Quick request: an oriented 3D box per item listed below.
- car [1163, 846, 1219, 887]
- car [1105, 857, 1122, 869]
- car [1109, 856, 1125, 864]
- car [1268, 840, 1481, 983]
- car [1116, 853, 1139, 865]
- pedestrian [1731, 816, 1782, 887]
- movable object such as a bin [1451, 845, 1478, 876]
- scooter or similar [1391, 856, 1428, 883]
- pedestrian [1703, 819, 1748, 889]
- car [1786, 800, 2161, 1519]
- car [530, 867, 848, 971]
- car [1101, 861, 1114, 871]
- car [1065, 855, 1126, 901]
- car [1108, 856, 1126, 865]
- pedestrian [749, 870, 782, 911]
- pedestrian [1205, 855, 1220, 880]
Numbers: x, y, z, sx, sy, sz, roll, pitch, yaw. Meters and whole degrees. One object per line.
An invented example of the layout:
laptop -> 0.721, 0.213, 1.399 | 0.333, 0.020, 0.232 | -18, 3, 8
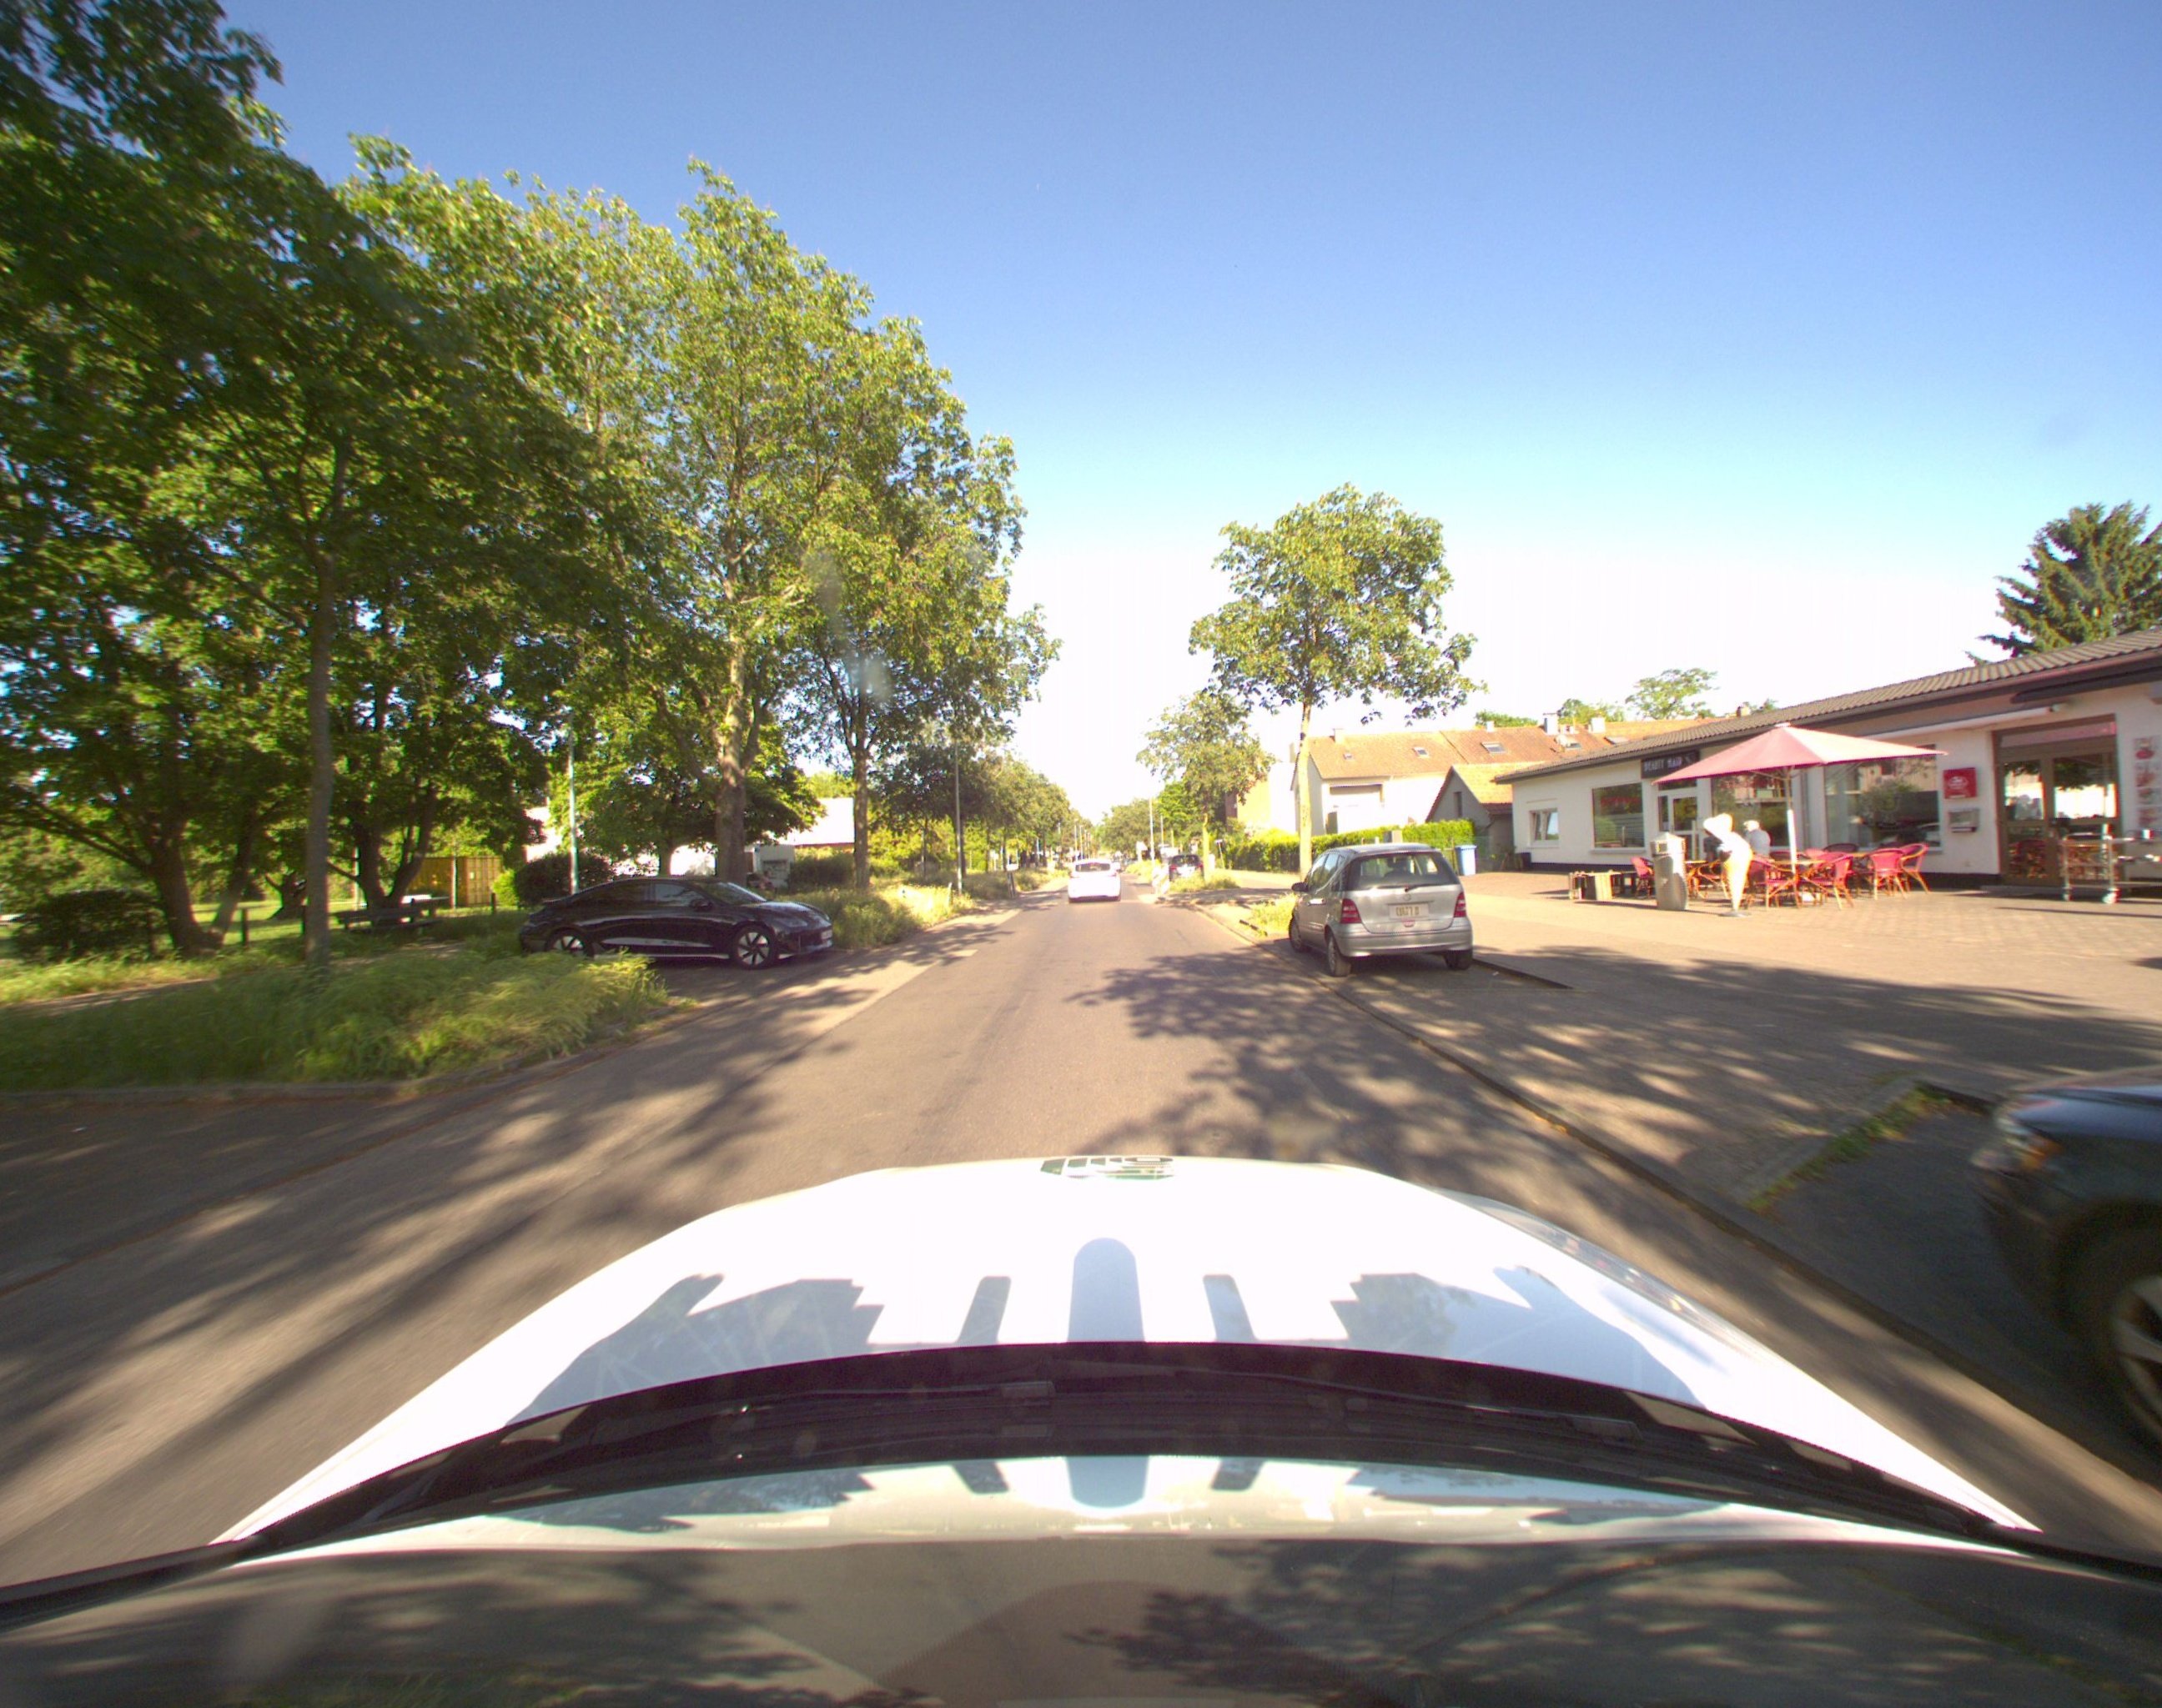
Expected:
car -> 5.126, 0.605, 38.561 | 1.987, 1.728, 3.998 | -4, -1, -1
car -> 3.892, 1.087, 98.964 | 1.986, 1.508, 3.660 | 1, 0, 2
car -> 8.796, 1.449, 199.184 | 3.975, 1.750, 1.999 | -2, 0, -1
car -> 3.890, 0.679, 11.595 | 1.604, 1.622, 4.384 | 1, 0, 2
car -> 8.318, 0.983, 146.888 | 3.974, 2.014, 2.000 | -2, -1, 0
pedestrian -> 13.942, -0.043, 16.820 | 0.655, 1.409, 0.496 | -5, -1, 30
movable object such as a bin -> 13.424, 0.218, 28.532 | 0.491, 1.031, 0.747 | -5, -1, 1
scooter or similar -> 10.661, 0.500, 26.444 | 0.368, 0.858, 1.406 | -2, 0, -11
pedestrian -> 13.166, 0.000, 16.648 | 0.437, 1.385, 0.640 | -1, -1, 7
car -> 3.524, 0.692, 0.656 | 1.990, 1.622, 4.375 | 1, 0, -4
car -> -6.314, 1.014, 13.479 | 4.352, 1.531, 1.808 | -1, -1, 0
car -> 3.963, 1.758, 121.675 | 1.810, 1.508, 3.660 | 1, 0, 2
car -> 0.566, 0.800, 29.127 | 1.986, 1.455, 4.227 | -2, 0, 2
car -> 8.299, 1.462, 188.915 | 3.974, 2.013, 2.000 | -2, 0, 0
pedestrian -> -14.620, 1.678, 37.758 | 1.227, 1.827, 1.543 | 0, -1, -15
pedestrian -> 11.102, 1.135, 68.729 | 1.108, 2.013, 0.922 | -2, 0, 2
